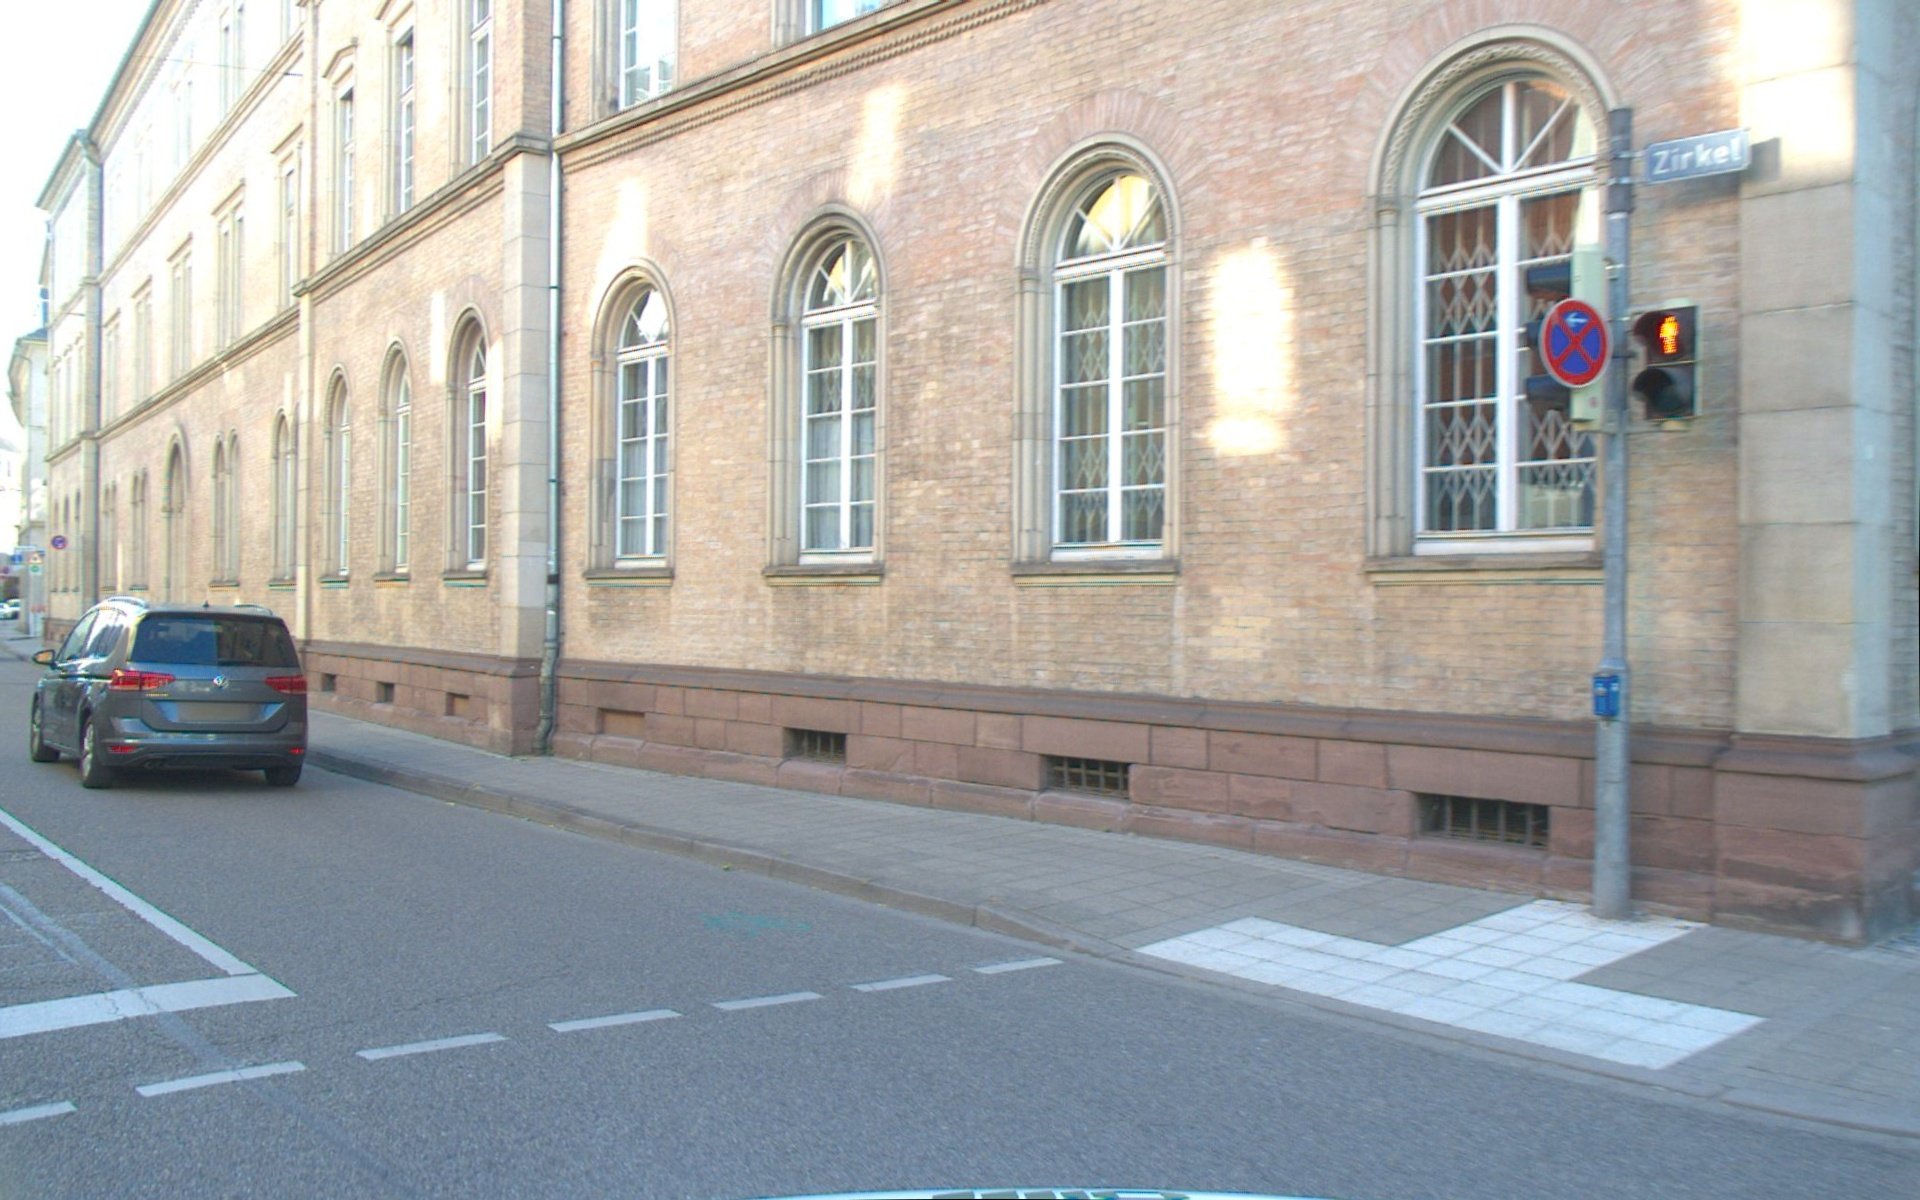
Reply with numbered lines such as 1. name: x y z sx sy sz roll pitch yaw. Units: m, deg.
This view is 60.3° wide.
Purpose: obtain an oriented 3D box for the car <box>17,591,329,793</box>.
1. car: -7.463 0.783 15.499 1.750 1.635 3.944 3 -2 -39
